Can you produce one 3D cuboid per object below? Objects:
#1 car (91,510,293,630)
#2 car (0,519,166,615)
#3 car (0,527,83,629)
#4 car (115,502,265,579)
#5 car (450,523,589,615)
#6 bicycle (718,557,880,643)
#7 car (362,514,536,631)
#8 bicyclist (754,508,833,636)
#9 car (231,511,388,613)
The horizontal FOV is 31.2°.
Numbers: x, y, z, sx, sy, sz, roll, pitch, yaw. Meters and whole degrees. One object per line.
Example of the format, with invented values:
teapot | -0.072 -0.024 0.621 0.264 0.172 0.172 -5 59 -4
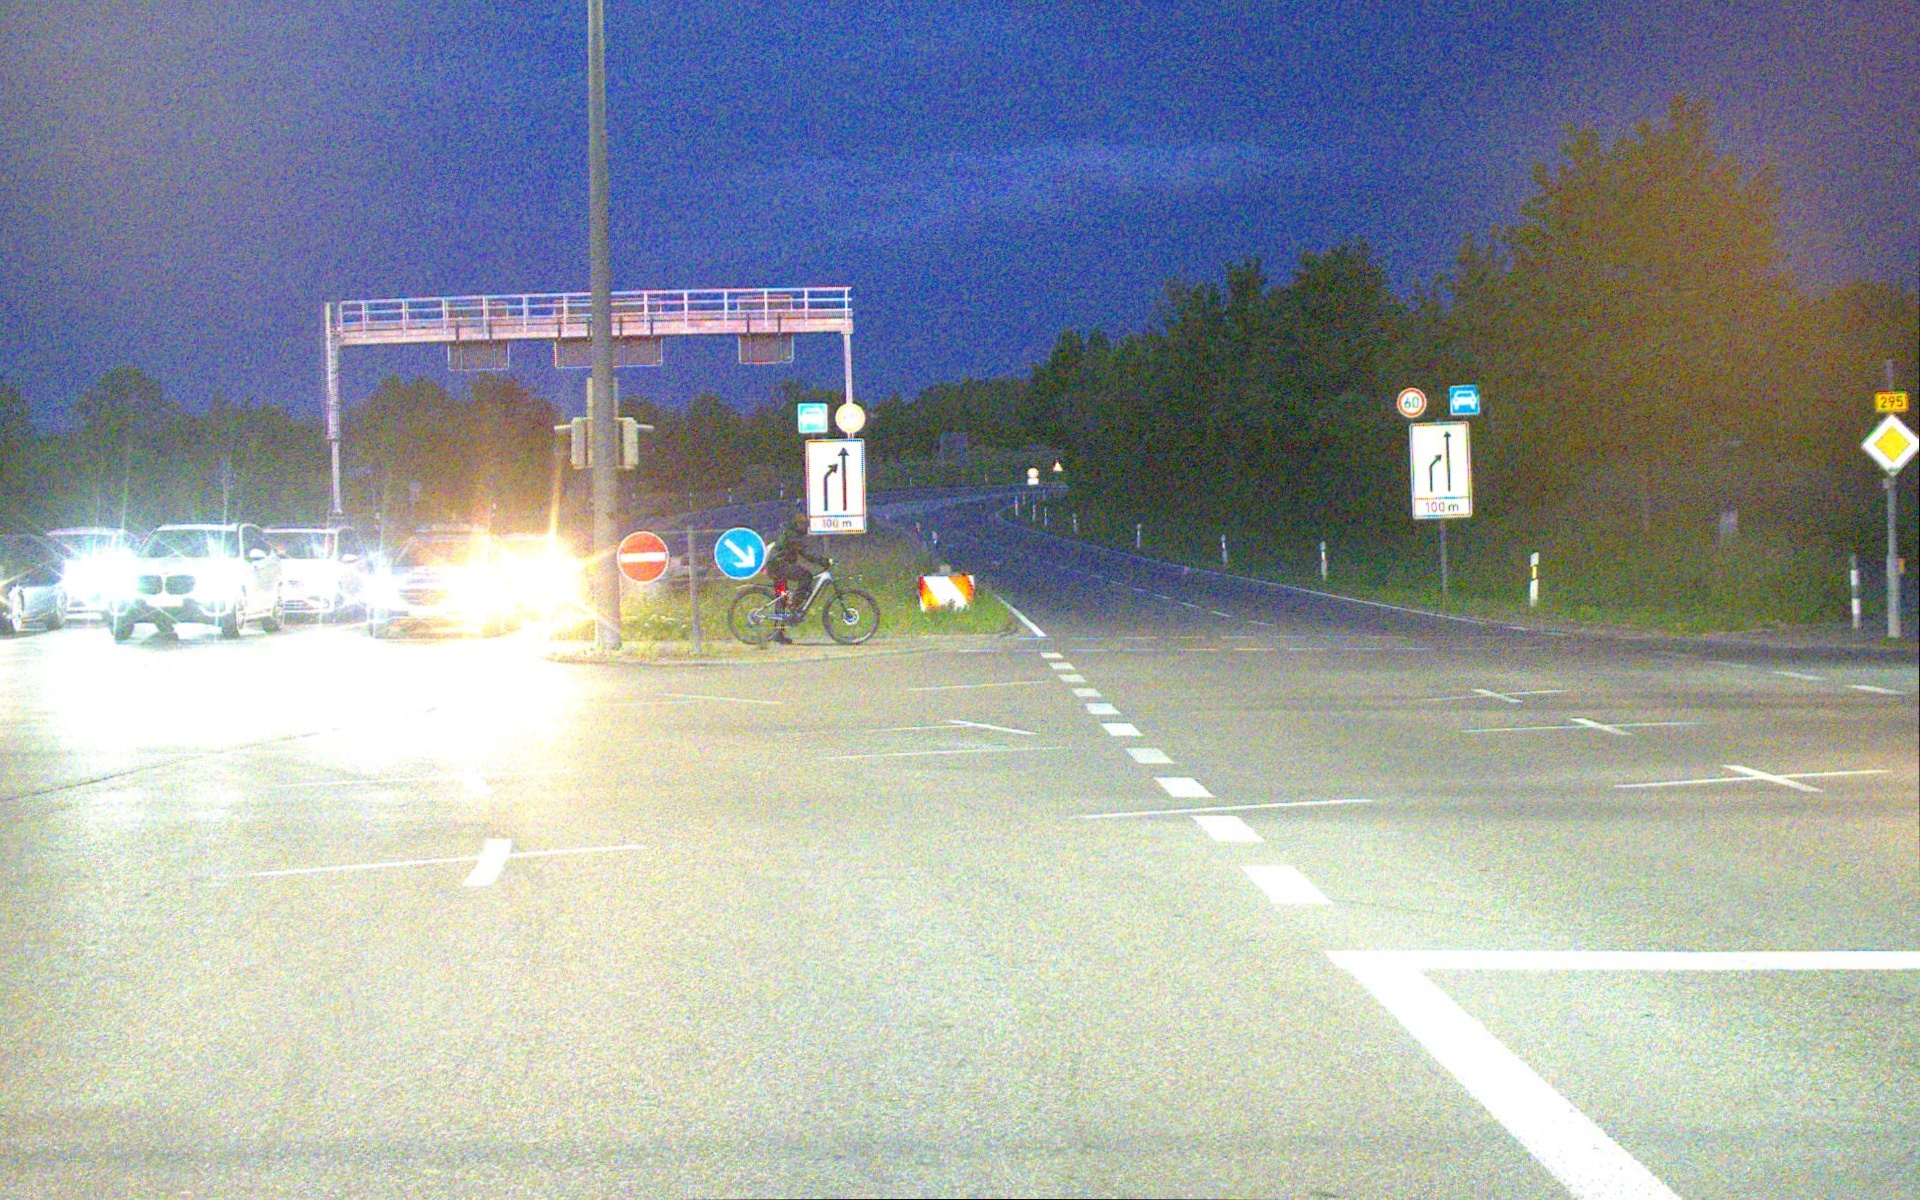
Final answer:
car | -11.237 -0.478 50.597 1.908 1.676 4.420 0 2 1
car | -14.785 -0.577 57.941 1.831 1.519 4.000 -1 2 0
car | -14.687 -0.361 51.665 1.780 1.441 4.291 0 2 2
car | -14.652 -1.160 65.603 1.831 1.385 4.397 -1 2 0
car | -7.490 -0.557 58.722 1.773 1.476 3.910 1 1 1
bicycle | -2.091 -0.005 44.560 2.061 1.097 0.695 0 1 -5
car | -7.488 -0.443 50.782 1.852 1.627 4.585 0 2 1
bicyclist | -2.158 -0.367 44.561 0.997 1.645 0.604 0 1 -5
car | -10.925 -0.672 57.998 1.745 1.621 4.363 0 2 1
